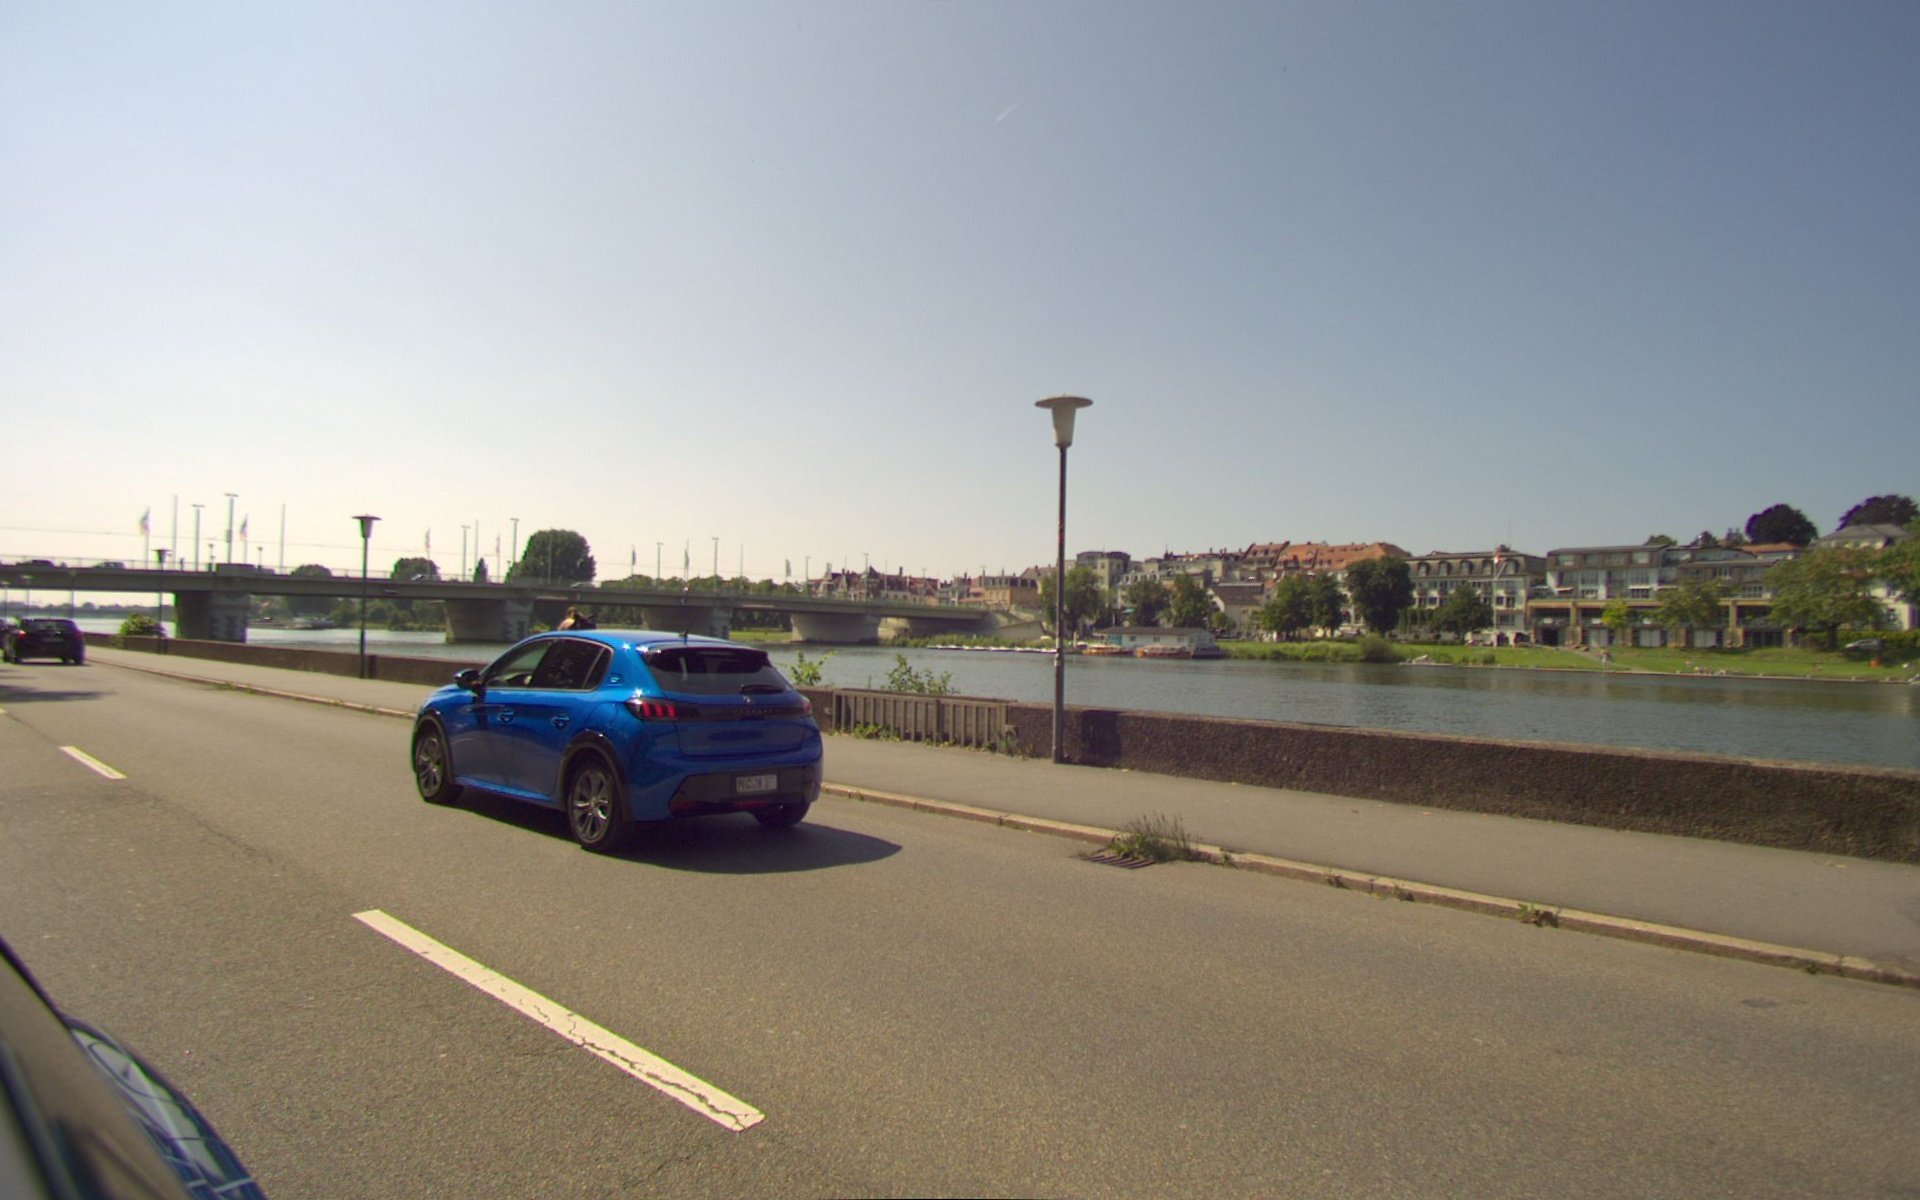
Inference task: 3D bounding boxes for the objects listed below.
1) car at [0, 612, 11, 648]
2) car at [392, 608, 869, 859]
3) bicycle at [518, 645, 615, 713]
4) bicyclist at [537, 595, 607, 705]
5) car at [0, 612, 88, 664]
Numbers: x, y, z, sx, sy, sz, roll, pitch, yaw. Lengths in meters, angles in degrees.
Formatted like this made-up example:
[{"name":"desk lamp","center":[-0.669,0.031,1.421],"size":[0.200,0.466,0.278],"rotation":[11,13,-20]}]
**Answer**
[{"name":"car","center":[-43.856,1.291,45.186],"size":[3.998,1.586,1.711],"rotation":[-1,-3,41]},{"name":"car","center":[-2.682,0.840,7.804],"size":[3.899,1.452,1.655],"rotation":[-1,-4,40]},{"name":"bicycle","center":[-6.419,1.253,16.458],"size":[1.943,0.990,0.645],"rotation":[-1,-1,41]},{"name":"bicyclist","center":[-6.253,0.782,16.315],"size":[0.974,1.715,0.654],"rotation":[-1,-1,41]},{"name":"car","center":[-28.865,1.167,31.737],"size":[3.723,1.502,1.649],"rotation":[-1,-4,40]}]
